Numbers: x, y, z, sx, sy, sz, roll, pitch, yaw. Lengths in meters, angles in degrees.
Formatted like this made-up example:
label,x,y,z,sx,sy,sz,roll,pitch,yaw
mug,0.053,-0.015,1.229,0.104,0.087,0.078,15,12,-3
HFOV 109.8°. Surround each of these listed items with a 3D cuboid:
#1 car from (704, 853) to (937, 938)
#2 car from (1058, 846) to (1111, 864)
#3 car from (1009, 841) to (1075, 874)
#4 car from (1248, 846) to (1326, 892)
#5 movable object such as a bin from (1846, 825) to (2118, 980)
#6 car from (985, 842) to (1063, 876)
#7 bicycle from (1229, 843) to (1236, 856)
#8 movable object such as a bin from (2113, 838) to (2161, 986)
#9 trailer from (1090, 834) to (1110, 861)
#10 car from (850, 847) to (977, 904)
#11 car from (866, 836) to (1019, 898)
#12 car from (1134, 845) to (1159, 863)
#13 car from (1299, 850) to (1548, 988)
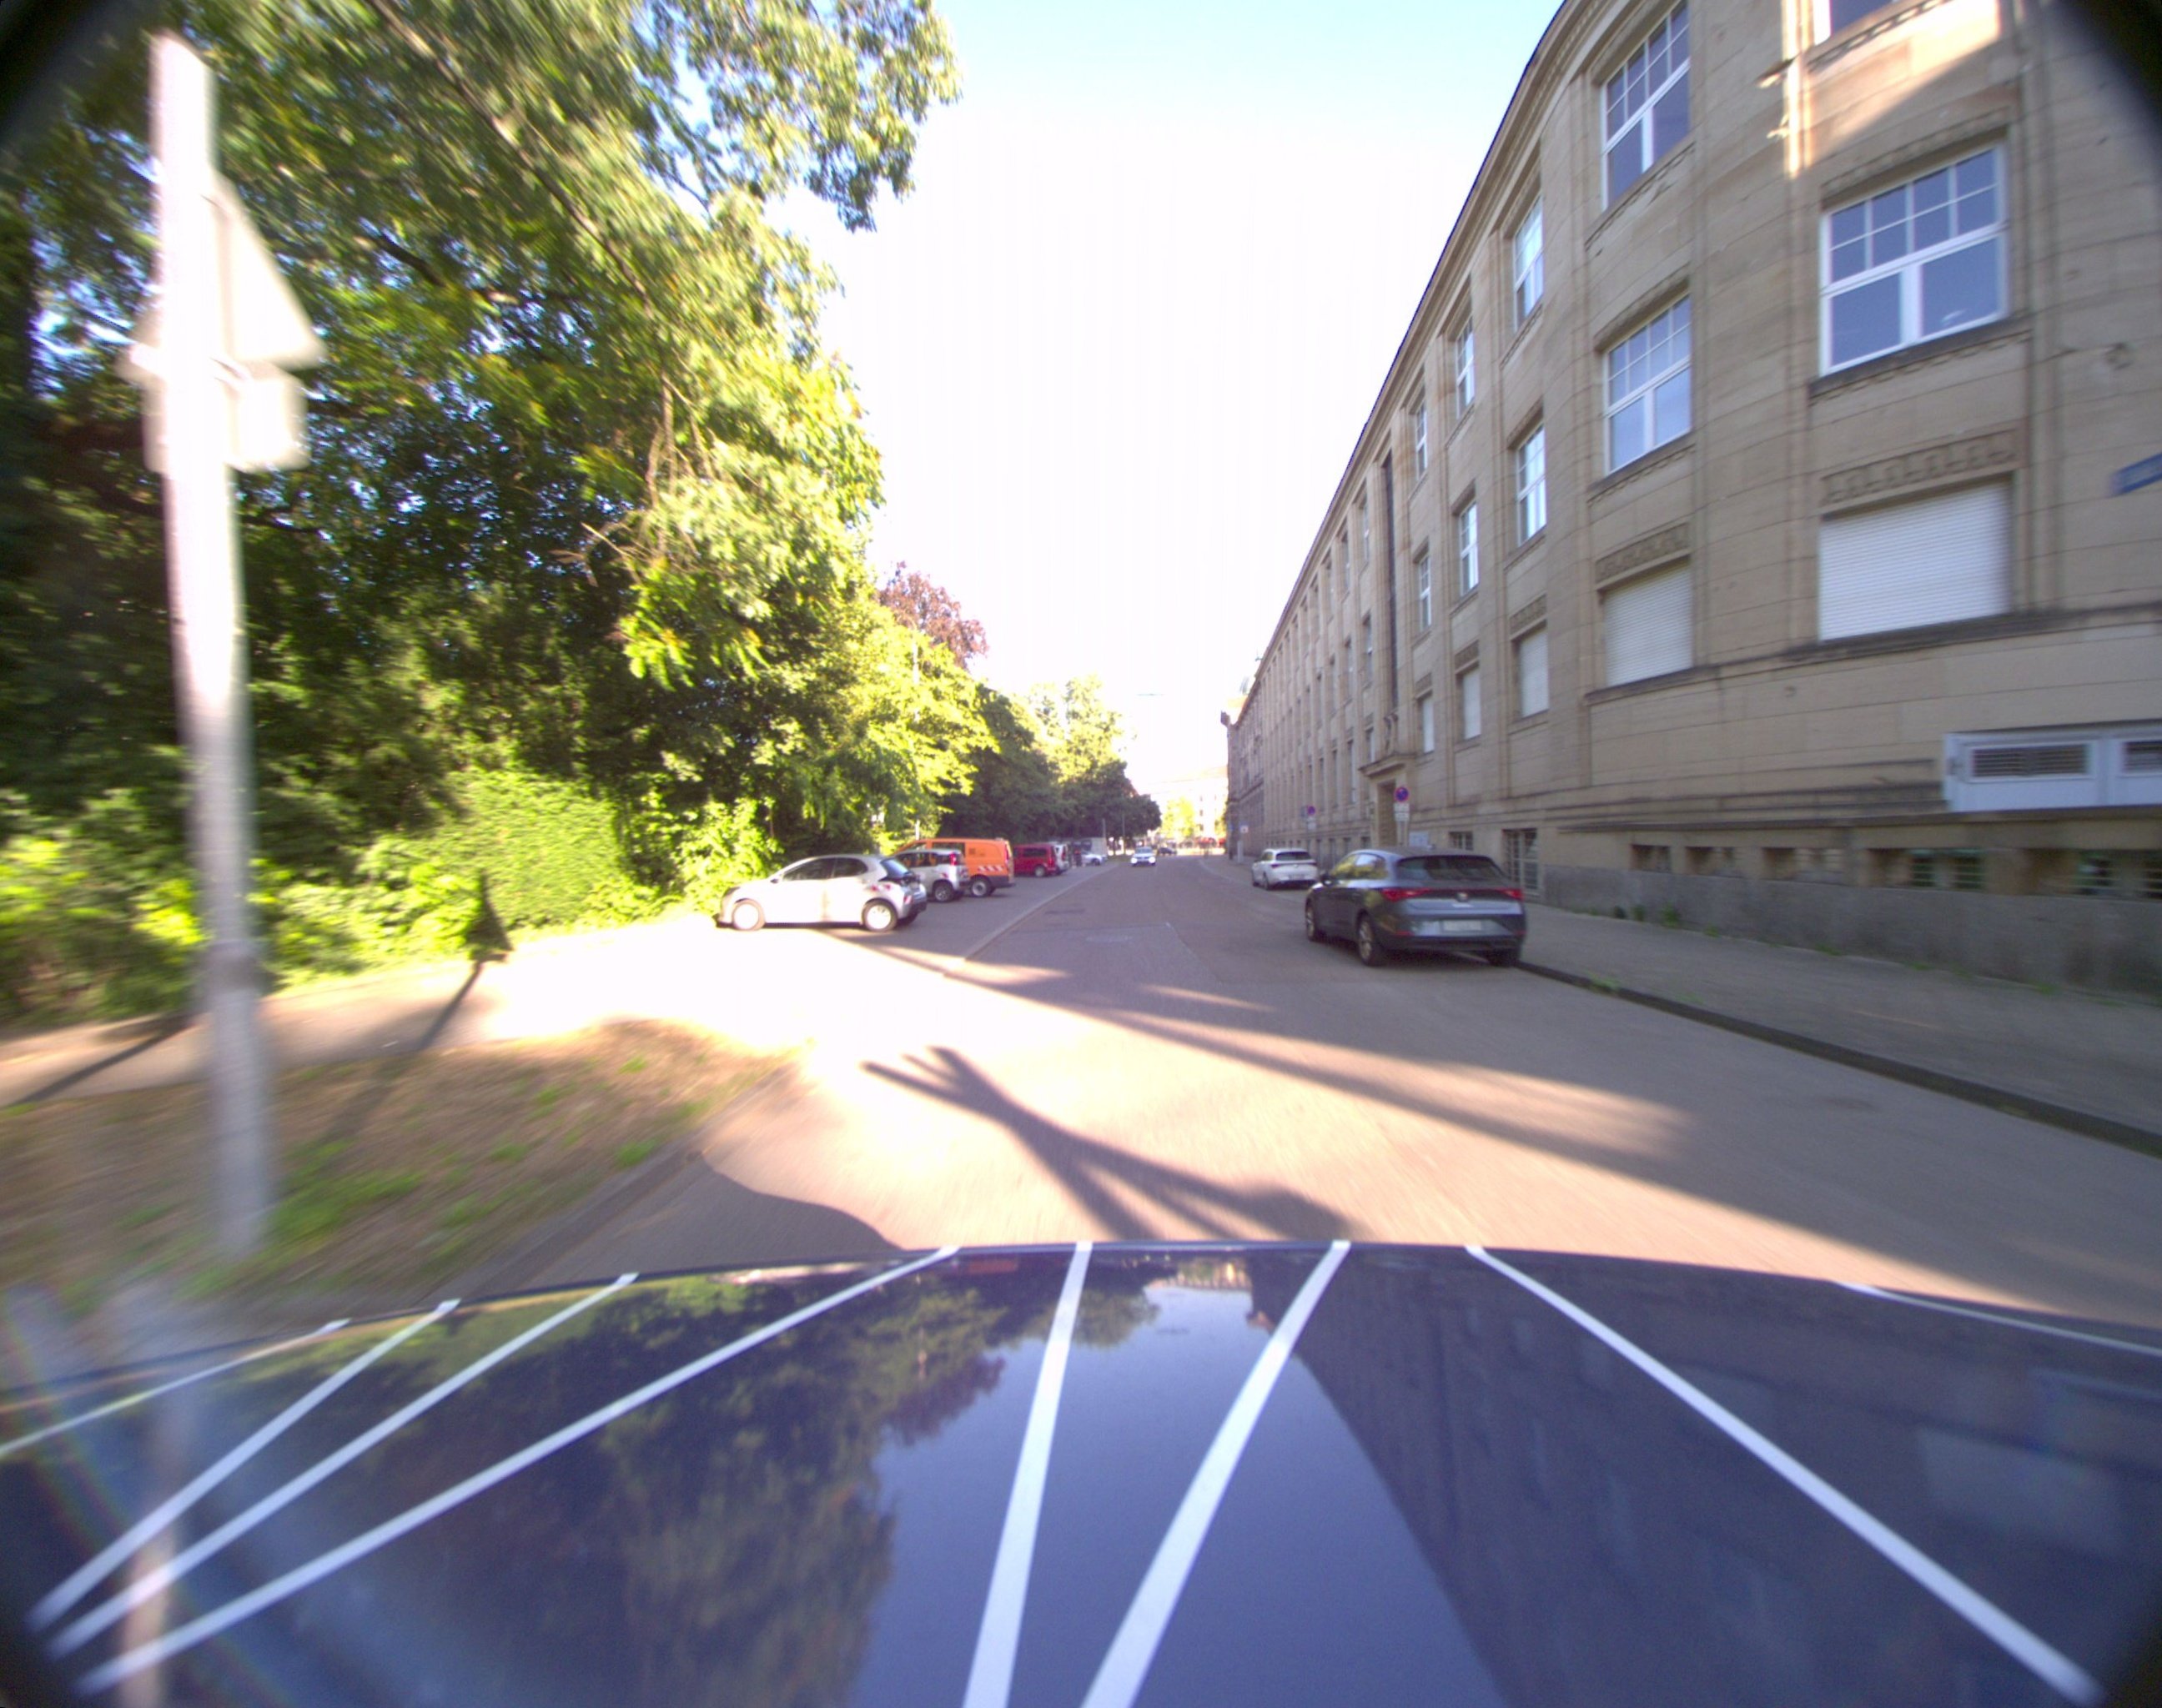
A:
label,x,y,z,sx,sy,sz,roll,pitch,yaw
car,-5.073,0.775,15.120,3.996,1.538,1.735,1,1,4
car,0.325,0.080,66.925,4.439,1.458,1.712,-1,1,8
car,-2.271,0.195,45.056,3.608,1.873,1.784,0,1,8
car,7.256,0.460,27.228,1.747,1.426,4.561,-2,1,3
movable object such as a bin,9.537,0.466,8.180,1.147,1.477,1.629,-1,1,14
car,-3.164,0.246,42.493,3.978,1.852,1.921,0,1,9
bicycle,14.033,-0.449,70.461,0.457,1.202,1.880,-1,1,16
movable object such as a bin,10.789,0.557,6.751,1.183,1.420,1.925,-1,1,27
trailer,1.948,-0.681,77.237,1.600,2.625,3.704,-1,1,8
car,-5.036,0.628,23.083,3.403,1.622,1.680,1,1,5
car,-4.601,0.413,25.792,4.807,1.986,2.081,0,1,1
car,5.376,-0.020,61.738,1.686,1.445,4.105,-1,1,9
car,4.292,0.695,10.298,1.747,1.439,4.209,-1,1,4
